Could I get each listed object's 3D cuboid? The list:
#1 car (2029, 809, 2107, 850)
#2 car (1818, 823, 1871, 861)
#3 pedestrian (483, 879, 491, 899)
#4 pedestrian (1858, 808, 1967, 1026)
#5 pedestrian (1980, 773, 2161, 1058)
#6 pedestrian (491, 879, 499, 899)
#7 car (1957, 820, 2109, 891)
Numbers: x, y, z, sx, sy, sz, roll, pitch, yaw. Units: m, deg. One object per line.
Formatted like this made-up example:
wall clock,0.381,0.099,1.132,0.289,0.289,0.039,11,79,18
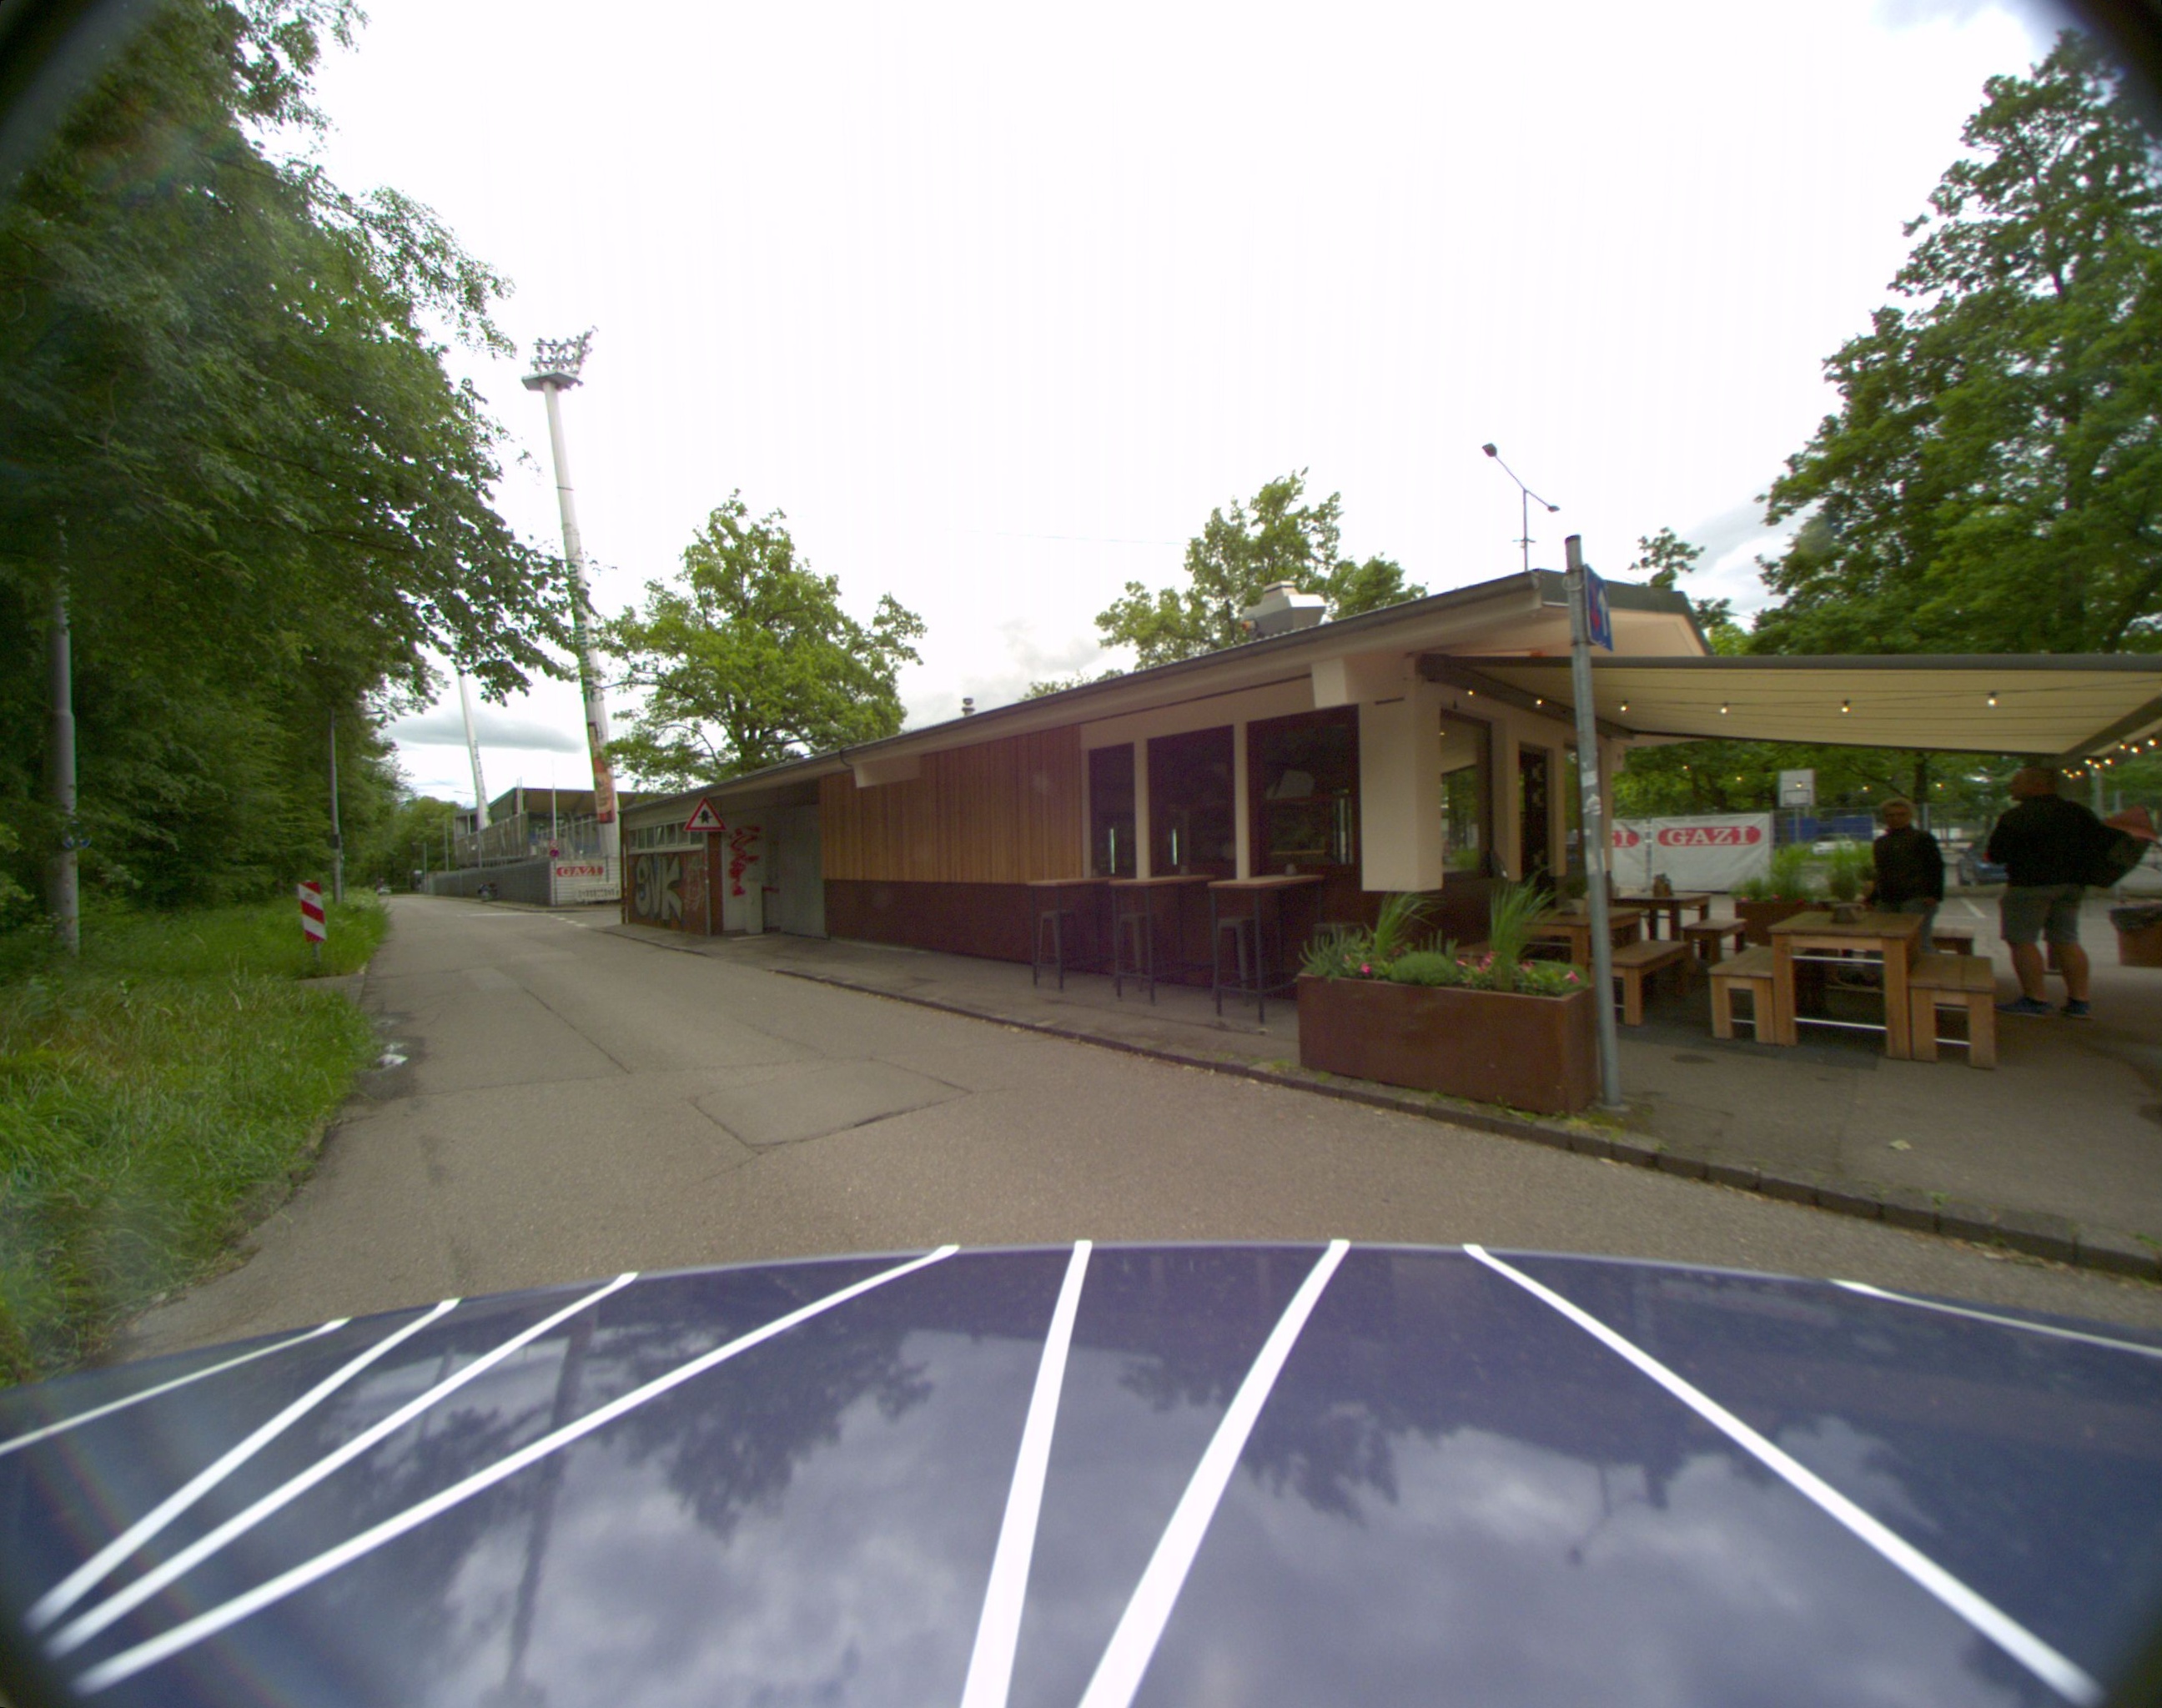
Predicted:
car,53.498,-1.315,41.282,1.872,2.027,4.599,-2,0,44
car,43.401,-0.682,43.275,1.994,2.002,4.008,-2,0,44
pedestrian,-42.328,2.506,54.151,0.373,1.378,0.376,-2,0,-39
pedestrian,6.755,0.479,6.173,0.596,1.657,0.529,-2,0,-39
pedestrian,6.927,0.395,5.292,0.708,1.820,0.751,-2,0,40
pedestrian,-42.023,2.493,54.509,0.377,1.378,0.405,-2,0,-39
car,23.126,0.017,18.617,4.008,1.543,1.995,-2,0,-43
